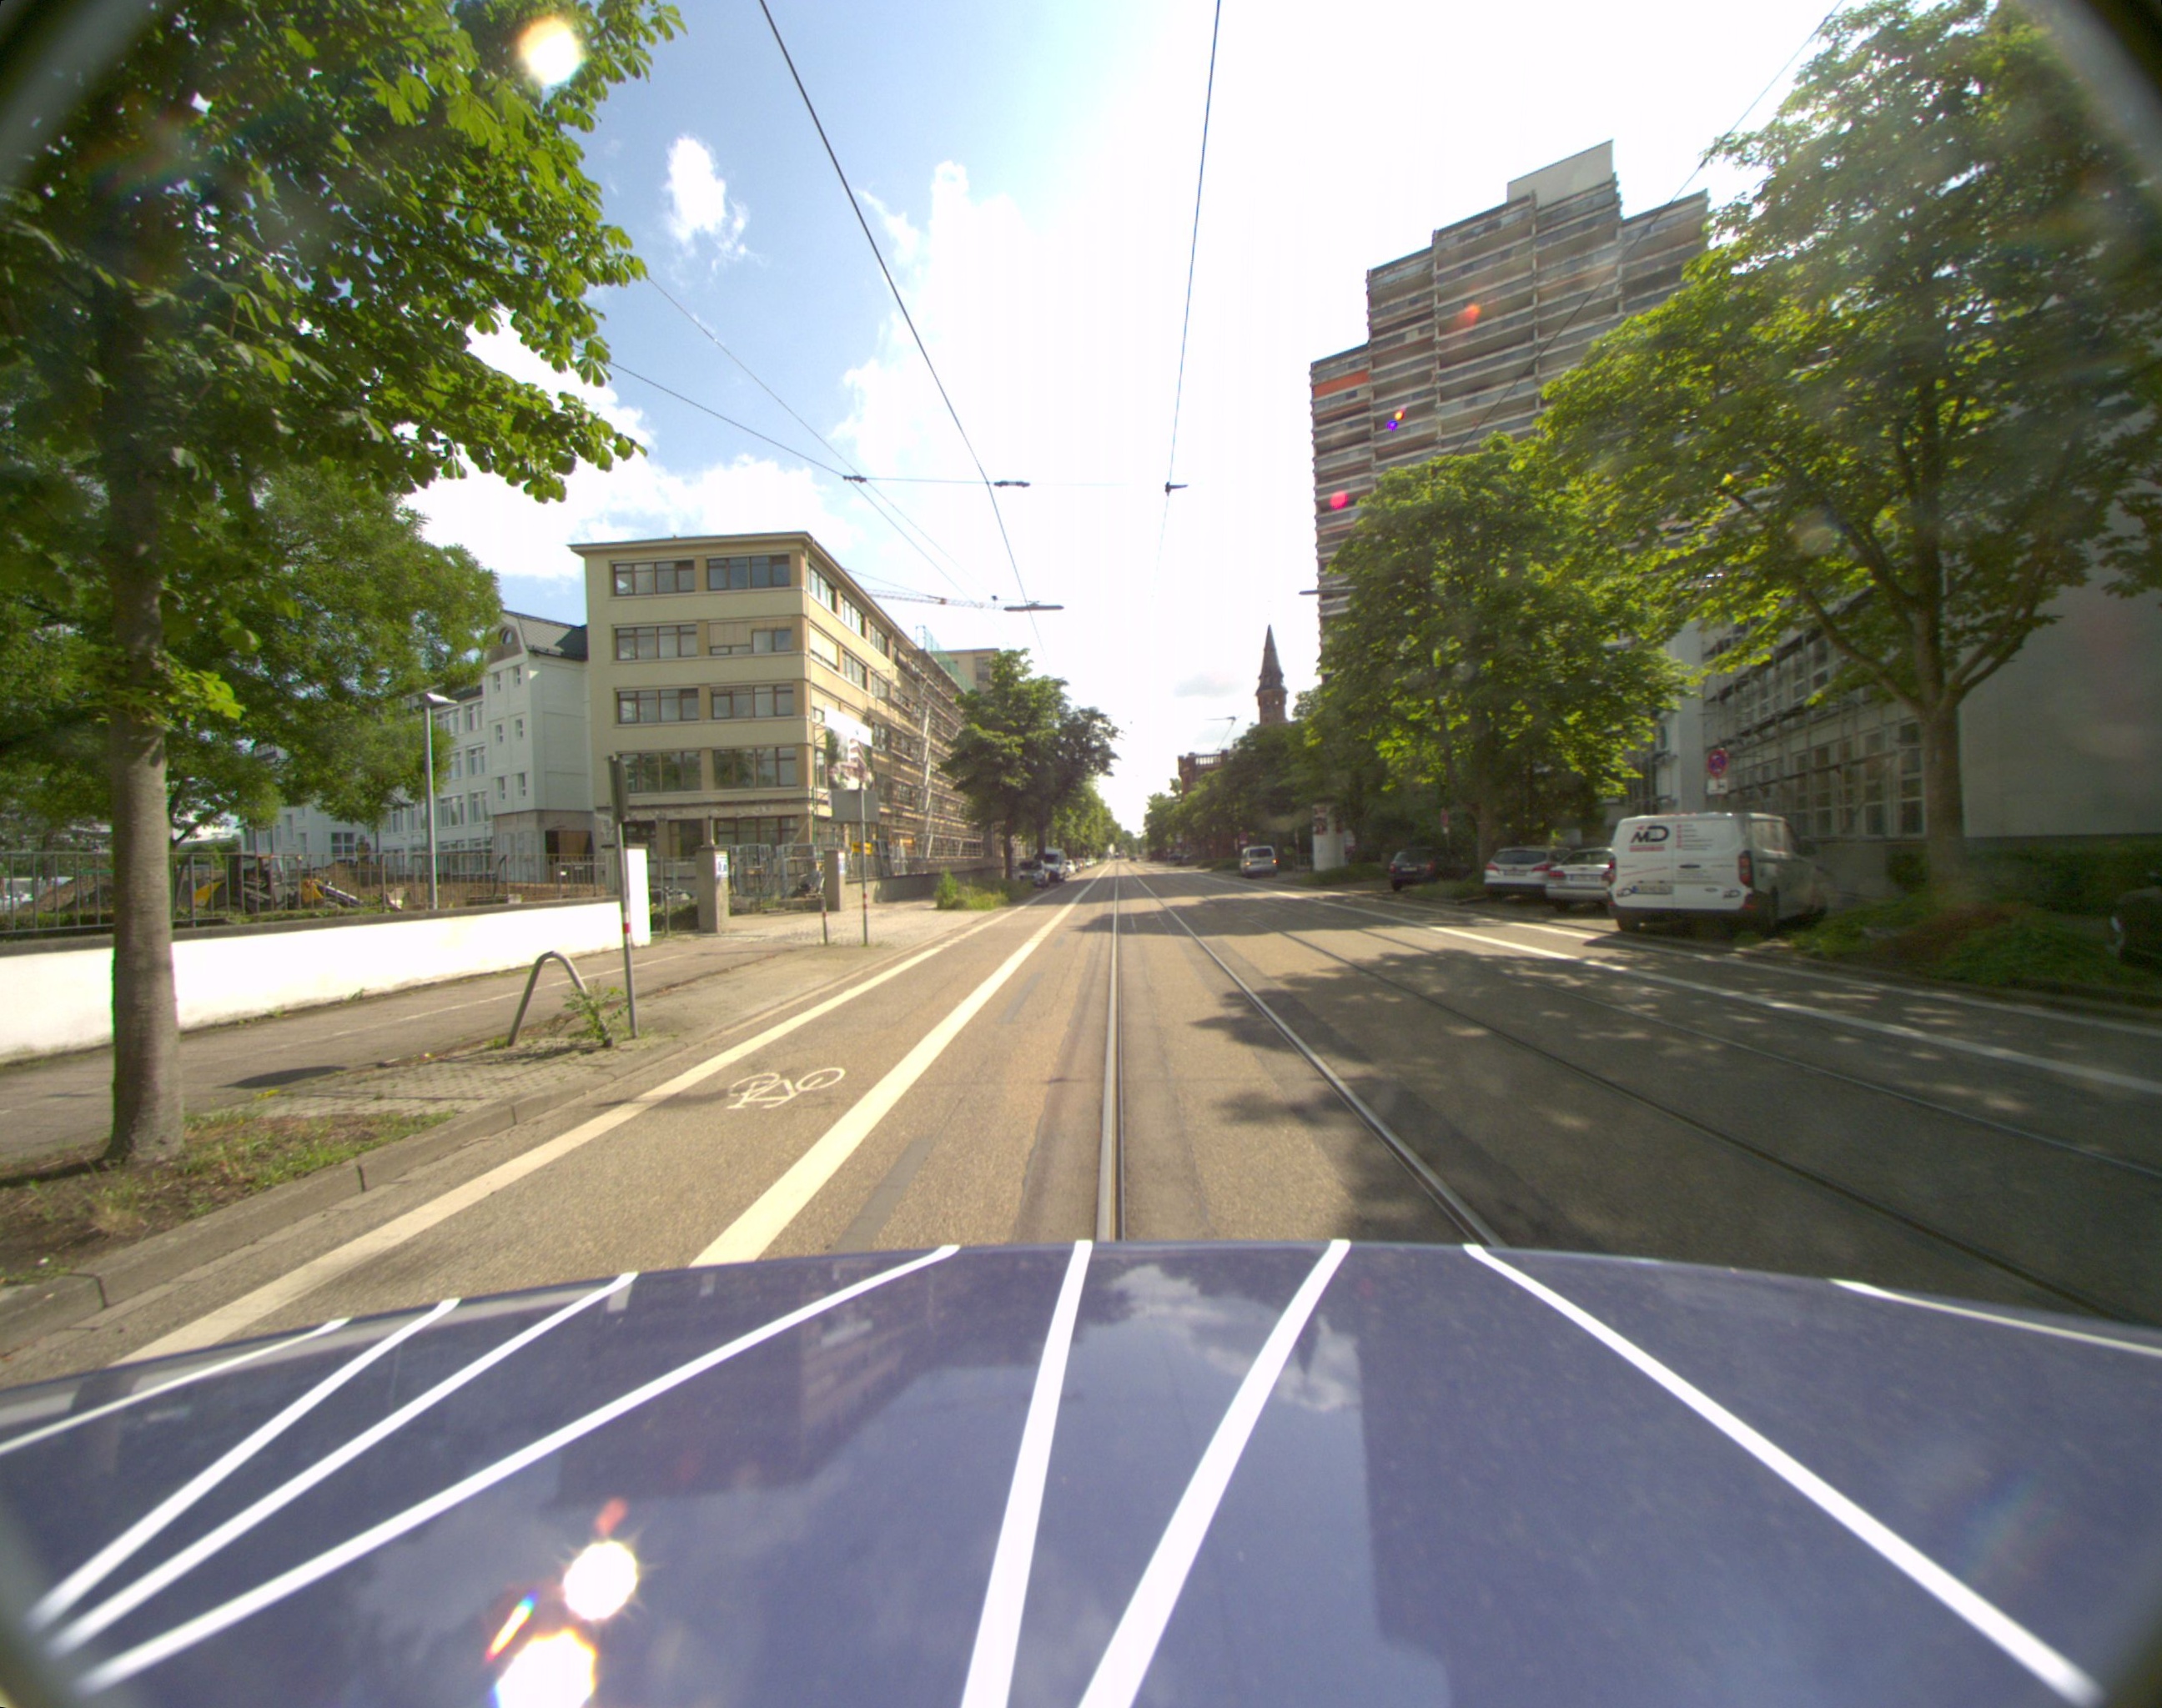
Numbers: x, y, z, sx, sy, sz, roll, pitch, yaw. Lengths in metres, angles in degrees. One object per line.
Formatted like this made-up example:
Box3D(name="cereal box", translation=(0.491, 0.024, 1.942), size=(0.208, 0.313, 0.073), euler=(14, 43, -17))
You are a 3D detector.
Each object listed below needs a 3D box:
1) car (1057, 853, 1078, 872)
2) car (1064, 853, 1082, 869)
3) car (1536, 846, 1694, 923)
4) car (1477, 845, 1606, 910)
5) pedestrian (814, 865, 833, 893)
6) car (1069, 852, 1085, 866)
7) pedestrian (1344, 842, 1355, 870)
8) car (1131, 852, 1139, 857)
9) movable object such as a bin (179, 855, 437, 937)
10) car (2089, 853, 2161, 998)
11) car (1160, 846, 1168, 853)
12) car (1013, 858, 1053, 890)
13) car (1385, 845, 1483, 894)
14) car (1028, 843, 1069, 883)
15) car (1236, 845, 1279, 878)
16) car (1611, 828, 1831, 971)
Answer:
Box3D(name="car", translation=(-1.289, 0.801, 74.286), size=(1.750, 1.597, 4.236), euler=(-5, 0, 2))
Box3D(name="car", translation=(-0.871, 0.731, 84.809), size=(1.750, 1.597, 4.236), euler=(-5, 0, 2))
Box3D(name="car", translation=(12.019, 0.600, 17.005), size=(4.179, 1.441, 1.817), euler=(-2, 0, -39))
Box3D(name="car", translation=(12.318, 0.574, 20.209), size=(4.201, 1.492, 1.817), euler=(-2, 0, -43))
Box3D(name="pedestrian", translation=(-12.514, 1.217, 36.945), size=(0.634, 1.306, 0.463), euler=(-3, 3, 18))
Box3D(name="car", translation=(-0.469, 0.611, 95.469), size=(1.750, 1.597, 4.236), euler=(-5, 0, 2))
Box3D(name="pedestrian", translation=(17.296, 0.141, 48.983), size=(0.524, 1.745, 0.635), euler=(-4, 3, 11))
Box3D(name="car", translation=(15.771, 0.145, 221.473), size=(1.892, 1.634, 4.236), euler=(-2, 0, 1))
Box3D(name="movable object such as a bin", translation=(-24.486, 1.276, 24.381), size=(5.438, 2.429, 1.997), euler=(0, -2, -20))
Box3D(name="car", translation=(11.247, 0.700, 6.913), size=(1.717, 1.409, 4.009), euler=(1, 0, 41))
Box3D(name="car", translation=(20.002, -1.096, 183.089), size=(1.628, 1.565, 3.952), euler=(1, 1, 3))
Box3D(name="car", translation=(-2.737, 1.123, 44.193), size=(1.750, 1.597, 4.236), euler=(-5, 0, 2))
Box3D(name="car", translation=(12.434, 0.499, 26.654), size=(3.893, 1.514, 1.738), euler=(-2, 0, -43))
Box3D(name="car", translation=(-2.243, 0.614, 54.576), size=(2.337, 2.545, 5.390), euler=(-5, 0, 2))
Box3D(name="car", translation=(11.196, 0.445, 48.446), size=(1.891, 1.840, 4.237), euler=(-5, 0, 4))
Box3D(name="car", translation=(10.965, 0.612, 12.895), size=(4.695, 1.985, 1.964), euler=(-2, 0, -39))
